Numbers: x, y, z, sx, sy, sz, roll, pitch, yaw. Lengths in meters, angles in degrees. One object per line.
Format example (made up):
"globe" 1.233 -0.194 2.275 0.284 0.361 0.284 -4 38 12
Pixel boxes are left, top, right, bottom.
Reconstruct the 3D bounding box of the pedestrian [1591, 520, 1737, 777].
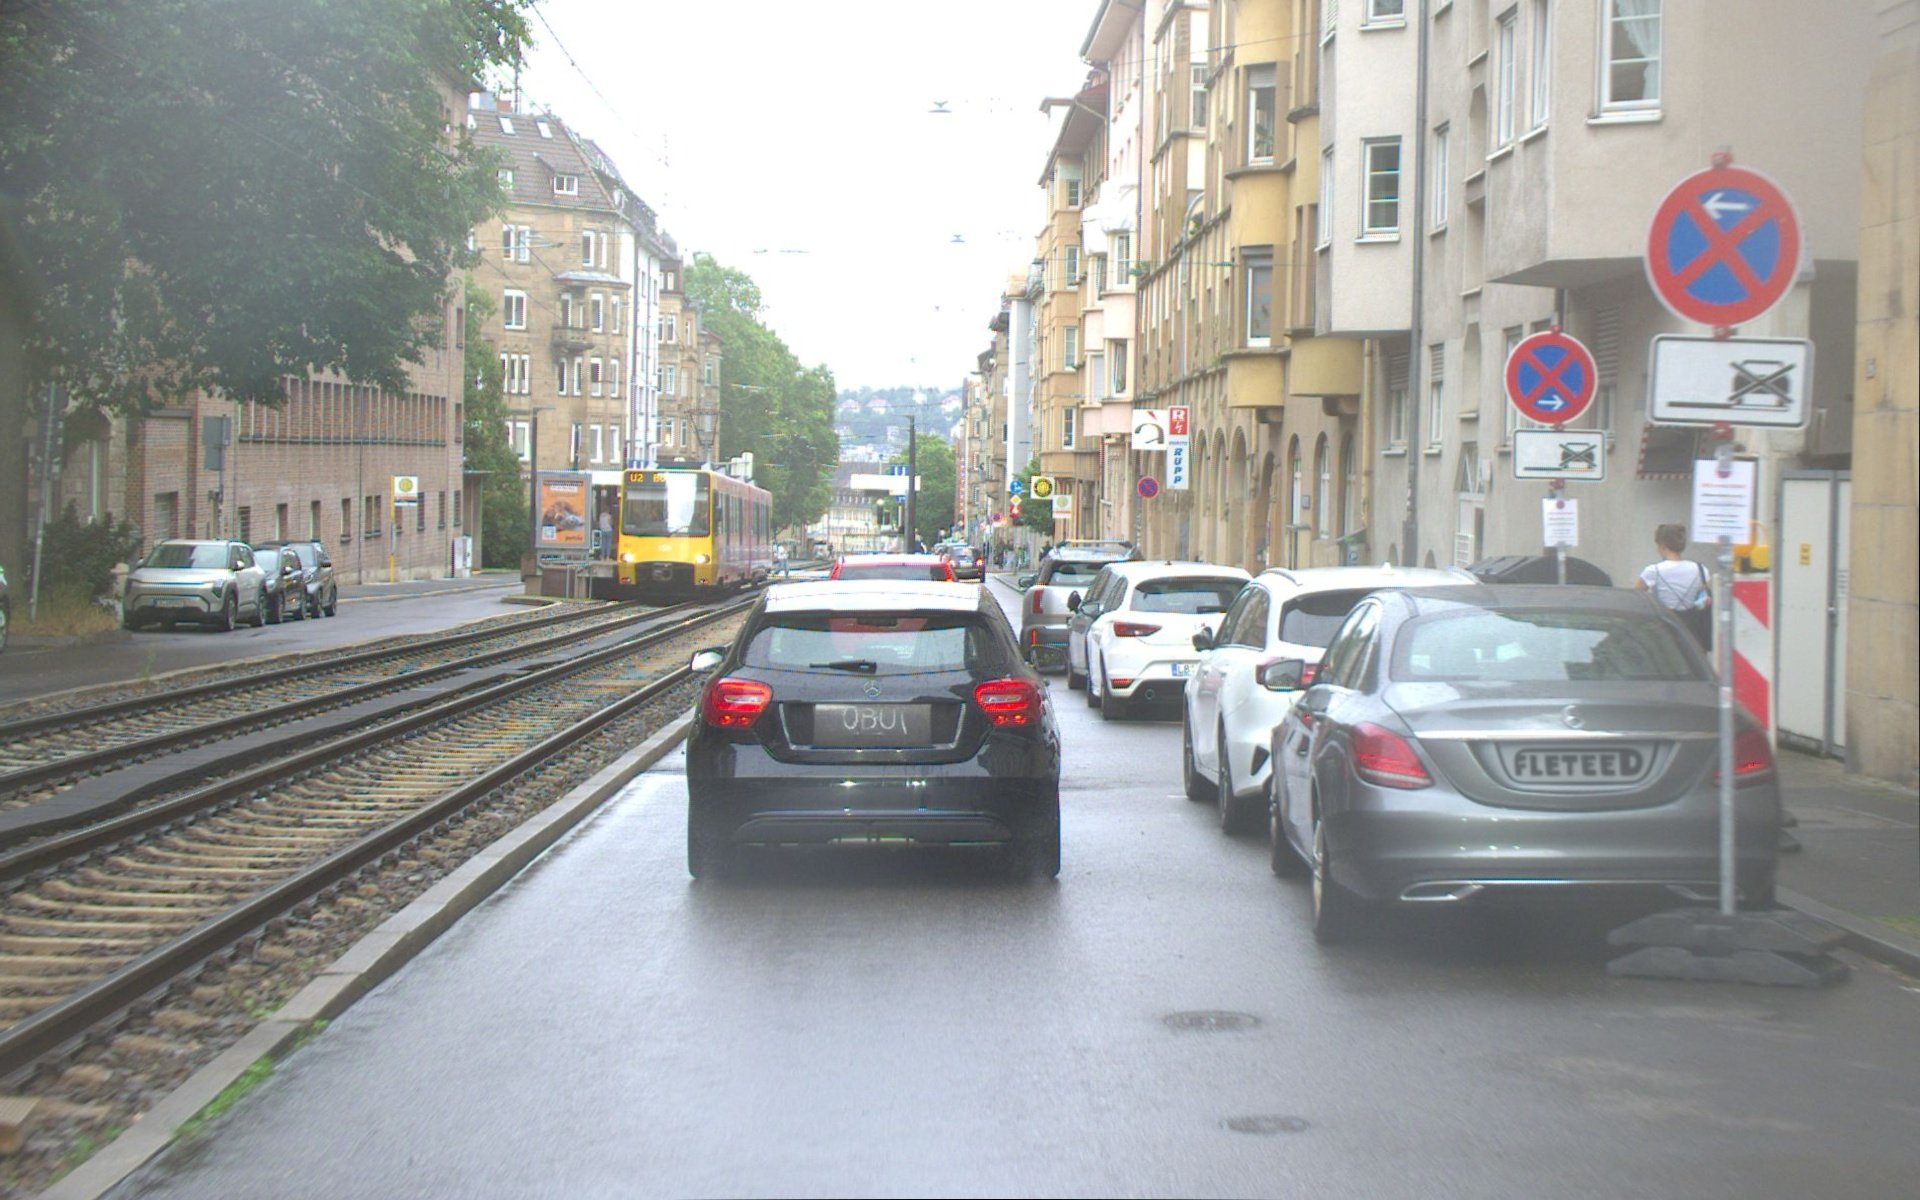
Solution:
"pedestrian" 4.698 0.317 22.969 0.804 1.681 0.754 0 0 -1

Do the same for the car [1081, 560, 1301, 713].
"car" 2.174 0.326 33.408 1.789 1.381 4.395 0 0 -1

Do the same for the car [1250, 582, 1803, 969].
"car" 2.271 0.630 14.981 1.711 1.405 4.817 0 0 1

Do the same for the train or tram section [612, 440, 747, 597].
"train or tram section" -7.780 -2.272 97.402 2.745 4.048 17.215 0 1 -1

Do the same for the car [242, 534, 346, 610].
"car" -13.495 -0.579 69.763 1.572 1.462 3.045 1 1 -2

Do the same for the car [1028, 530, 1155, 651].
"car" 1.951 -0.147 52.058 1.778 1.744 4.548 0 0 0

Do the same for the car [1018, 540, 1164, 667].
"car" 1.735 0.037 46.000 1.841 1.602 4.760 0 0 2

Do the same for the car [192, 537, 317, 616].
"car" -13.510 -0.474 66.000 1.666 1.410 3.688 1 1 -1

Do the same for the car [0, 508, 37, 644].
"car" -13.326 -0.338 43.671 1.953 1.736 4.779 4 1 -2

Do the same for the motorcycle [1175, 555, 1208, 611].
"motorcycle" 5.047 -0.384 74.915 0.556 1.156 2.269 -4 1 2

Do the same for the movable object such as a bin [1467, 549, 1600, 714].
"movable object such as a bin" 5.189 0.275 31.186 0.980 1.463 1.273 0 0 -1

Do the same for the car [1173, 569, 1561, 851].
"car" 2.276 0.564 20.348 1.712 1.463 4.774 0 0 0

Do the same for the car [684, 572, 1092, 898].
"car" -0.335 0.594 17.500 1.834 1.448 3.902 1 1 0

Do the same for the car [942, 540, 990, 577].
"car" 0.255 -1.751 144.963 1.887 1.520 4.245 1 1 1

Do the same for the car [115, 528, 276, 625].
"car" -13.502 -0.449 60.941 1.961 1.600 4.329 1 1 -1

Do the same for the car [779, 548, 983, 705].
"car" -0.792 0.240 36.287 1.993 1.520 4.245 1 1 0

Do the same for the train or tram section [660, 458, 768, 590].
"train or tram section" -7.994 -2.489 113.611 2.745 4.048 15.662 0 1 -1
